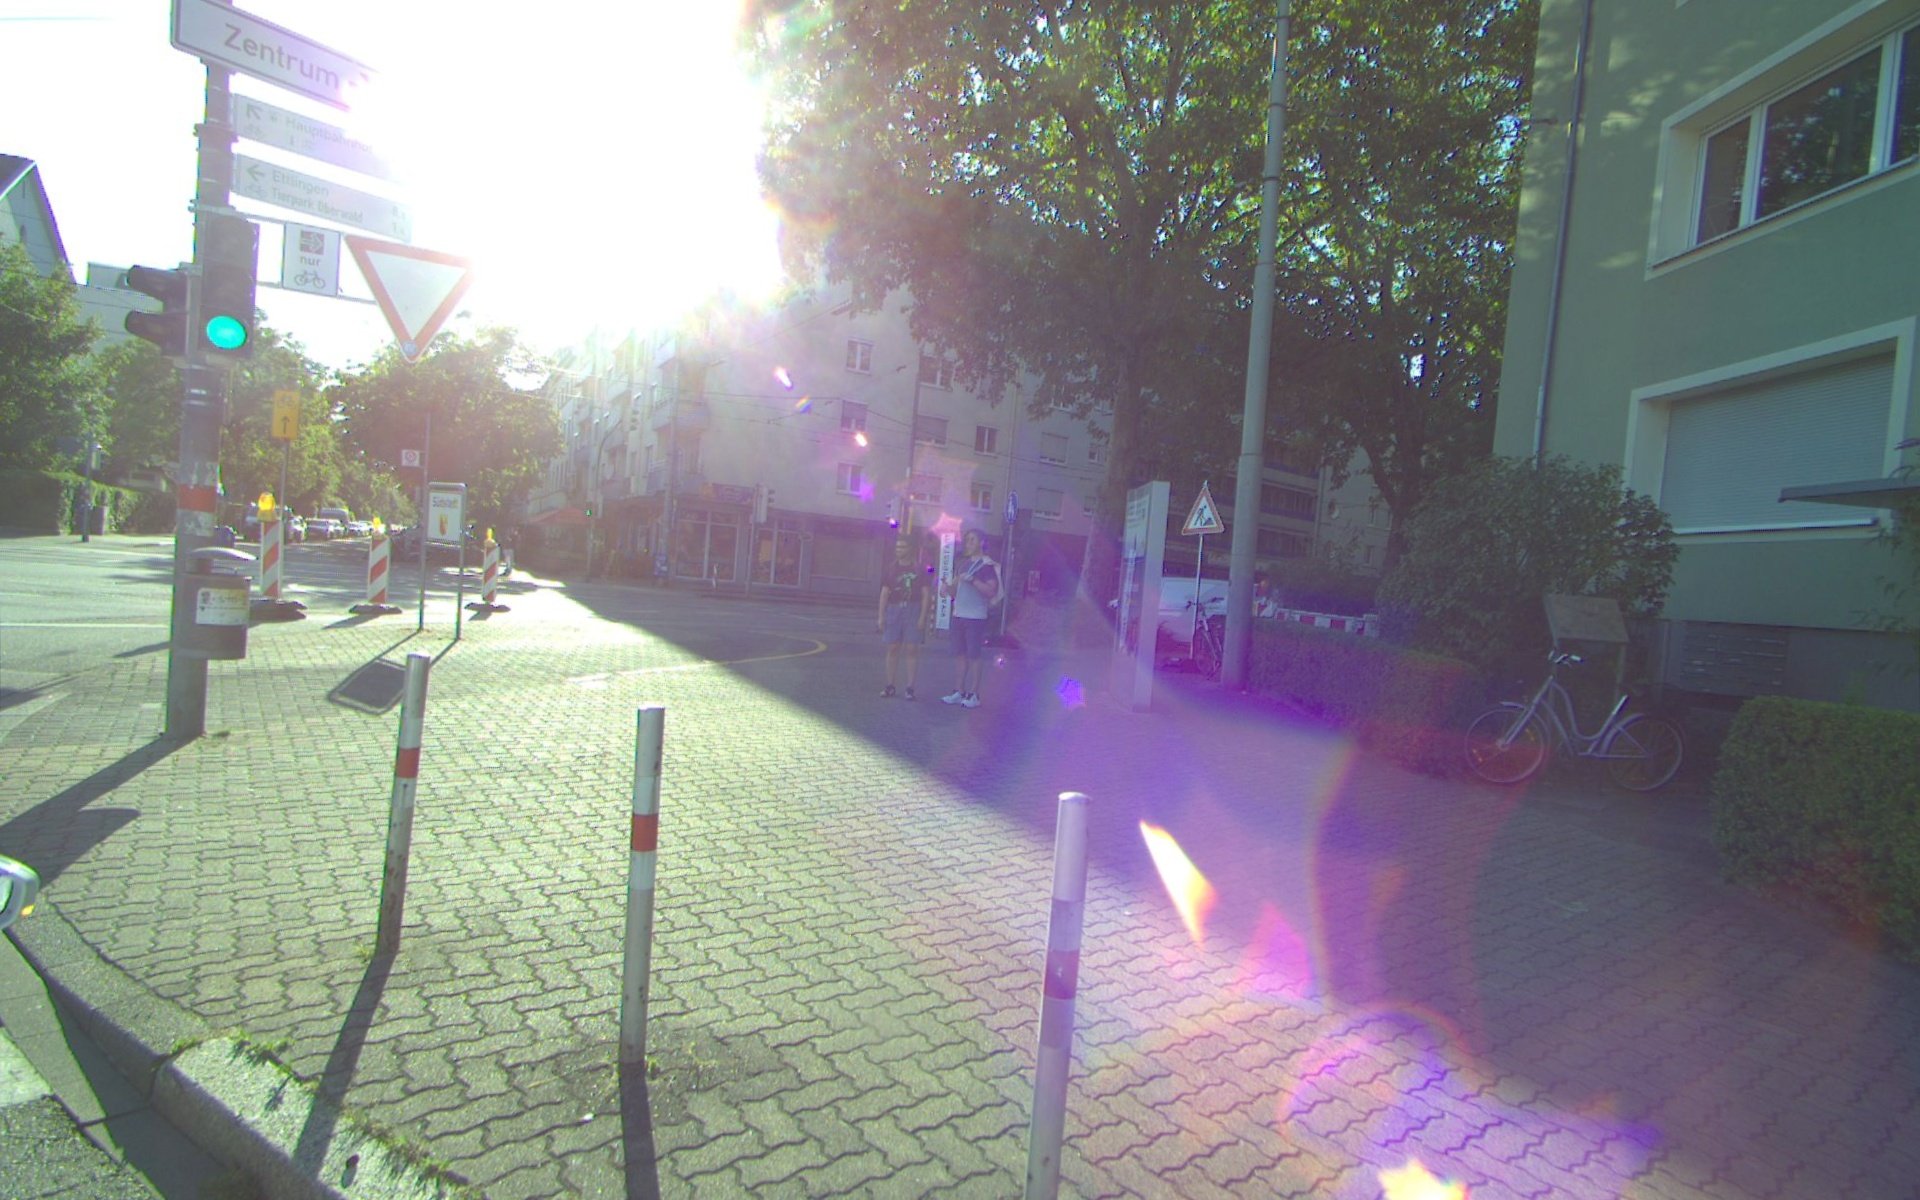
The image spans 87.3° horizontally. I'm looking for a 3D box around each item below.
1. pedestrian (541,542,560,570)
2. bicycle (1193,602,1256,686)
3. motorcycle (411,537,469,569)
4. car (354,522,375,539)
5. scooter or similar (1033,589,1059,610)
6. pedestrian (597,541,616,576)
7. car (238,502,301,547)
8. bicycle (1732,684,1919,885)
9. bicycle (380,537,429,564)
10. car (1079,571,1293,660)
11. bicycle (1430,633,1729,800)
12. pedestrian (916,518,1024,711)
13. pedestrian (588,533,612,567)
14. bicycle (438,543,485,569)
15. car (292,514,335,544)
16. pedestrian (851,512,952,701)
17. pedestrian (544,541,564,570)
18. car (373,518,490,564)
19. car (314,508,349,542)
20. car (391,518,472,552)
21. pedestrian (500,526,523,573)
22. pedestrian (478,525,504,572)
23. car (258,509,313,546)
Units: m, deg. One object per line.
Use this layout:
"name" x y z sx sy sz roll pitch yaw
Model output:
"pedestrian" -20.650 -2.223 50.758 0.803 1.381 0.908 4 2 -23
"bicycle" 3.761 0.589 14.440 0.511 1.071 1.933 5 1 7
"motorcycle" -20.809 -1.876 40.280 1.938 1.124 0.829 4 2 -34
"car" -73.438 -8.525 124.105 1.979 1.708 3.971 8 -2 -30
"scooter or similar" 4.411 -0.036 51.561 1.421 0.966 0.462 3 3 -44
"pedestrian" -17.077 -2.014 48.554 0.472 1.613 0.615 7 3 45
"car" -36.536 -3.989 53.360 2.336 2.040 5.265 4 2 -31
"bicycle" 5.720 1.103 5.940 1.815 1.016 0.645 5 2 -6
"bicycle" -22.872 -2.030 41.408 1.708 0.945 0.667 4 2 -29
"car" 5.585 0.322 25.573 1.913 1.849 5.185 5 0 -37
"bicycle" 4.864 0.900 7.987 1.897 1.071 0.521 5 2 4
"pedestrian" 0.110 0.137 9.952 0.680 1.774 0.794 6 2 21
"pedestrian" -17.595 -2.442 49.184 0.805 1.565 0.905 3 3 -35
"bicycle" -21.145 -1.873 42.675 1.708 0.945 0.557 4 2 -29
"car" -46.286 -5.080 72.128 2.336 1.818 5.265 4 1 -31
"pedestrian" -0.574 0.059 10.154 0.680 1.774 0.794 6 2 13
"pedestrian" -20.008 -2.190 49.603 0.803 1.381 0.908 4 2 -24
"car" -29.434 -3.215 56.061 5.576 1.948 2.344 4 0 -32
"car" -53.671 -6.413 85.982 2.336 2.548 5.265 4 2 -31
"car" -38.599 -4.700 73.489 5.050 1.948 2.344 4 0 -32
"pedestrian" -17.684 -1.970 39.674 0.683 1.774 0.791 4 2 -20
"pedestrian" -18.460 -2.011 39.619 0.707 1.774 0.792 4 2 -16
"car" -39.379 -4.245 58.828 2.336 1.818 5.265 4 1 -31
